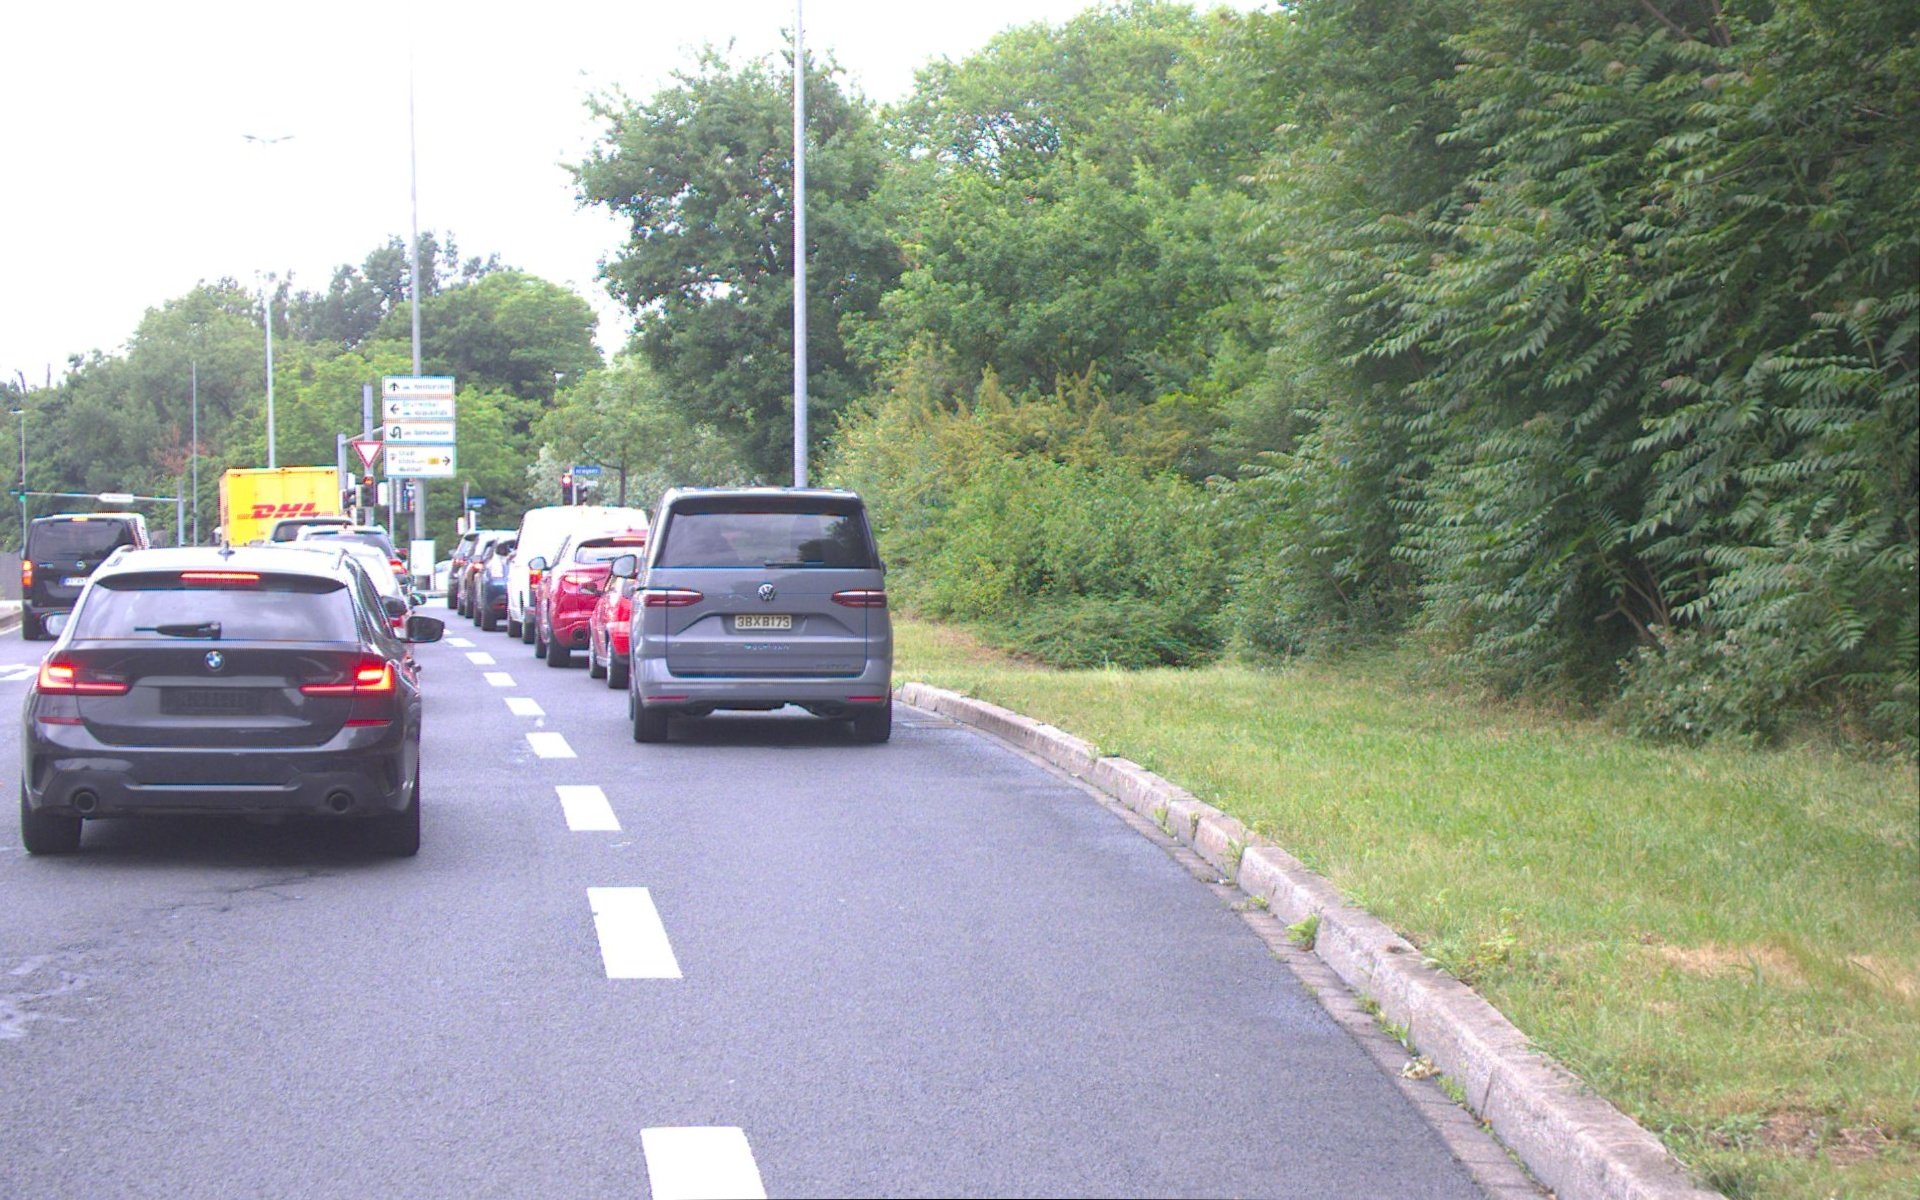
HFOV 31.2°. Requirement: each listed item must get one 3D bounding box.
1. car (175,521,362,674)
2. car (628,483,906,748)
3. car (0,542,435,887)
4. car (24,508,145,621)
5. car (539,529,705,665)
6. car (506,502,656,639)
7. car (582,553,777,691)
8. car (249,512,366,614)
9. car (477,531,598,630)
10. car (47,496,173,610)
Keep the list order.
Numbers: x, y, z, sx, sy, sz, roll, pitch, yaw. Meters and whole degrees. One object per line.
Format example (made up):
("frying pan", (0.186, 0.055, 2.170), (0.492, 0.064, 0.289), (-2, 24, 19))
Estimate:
("car", (-7.620, -0.051, 38.191), (1.884, 1.587, 4.431), (1, 1, -10))
("car", (-1.585, 0.090, 26.722), (1.898, 1.878, 4.416), (1, 1, -6))
("car", (-3.562, 0.455, 17.155), (1.748, 1.421, 4.463), (-1, 2, -7))
("car", (-13.854, -0.564, 54.568), (1.623, 1.696, 4.297), (1, 1, -11))
("car", (-4.098, -0.051, 41.344), (1.884, 1.540, 4.001), (1, 1, -7))
("car", (-5.520, -0.426, 49.707), (1.884, 1.873, 4.431), (1, 1, -10))
("car", (-2.999, 0.196, 36.109), (1.884, 1.351, 4.001), (1, 1, -7))
("car", (-11.302, -0.637, 59.759), (1.884, 1.694, 4.431), (1, 1, -10))
("car", (-6.899, -0.325, 56.228), (1.884, 1.540, 4.001), (1, 1, -7))
("car", (-15.408, -0.850, 62.511), (1.884, 1.980, 4.431), (1, 1, -10))
